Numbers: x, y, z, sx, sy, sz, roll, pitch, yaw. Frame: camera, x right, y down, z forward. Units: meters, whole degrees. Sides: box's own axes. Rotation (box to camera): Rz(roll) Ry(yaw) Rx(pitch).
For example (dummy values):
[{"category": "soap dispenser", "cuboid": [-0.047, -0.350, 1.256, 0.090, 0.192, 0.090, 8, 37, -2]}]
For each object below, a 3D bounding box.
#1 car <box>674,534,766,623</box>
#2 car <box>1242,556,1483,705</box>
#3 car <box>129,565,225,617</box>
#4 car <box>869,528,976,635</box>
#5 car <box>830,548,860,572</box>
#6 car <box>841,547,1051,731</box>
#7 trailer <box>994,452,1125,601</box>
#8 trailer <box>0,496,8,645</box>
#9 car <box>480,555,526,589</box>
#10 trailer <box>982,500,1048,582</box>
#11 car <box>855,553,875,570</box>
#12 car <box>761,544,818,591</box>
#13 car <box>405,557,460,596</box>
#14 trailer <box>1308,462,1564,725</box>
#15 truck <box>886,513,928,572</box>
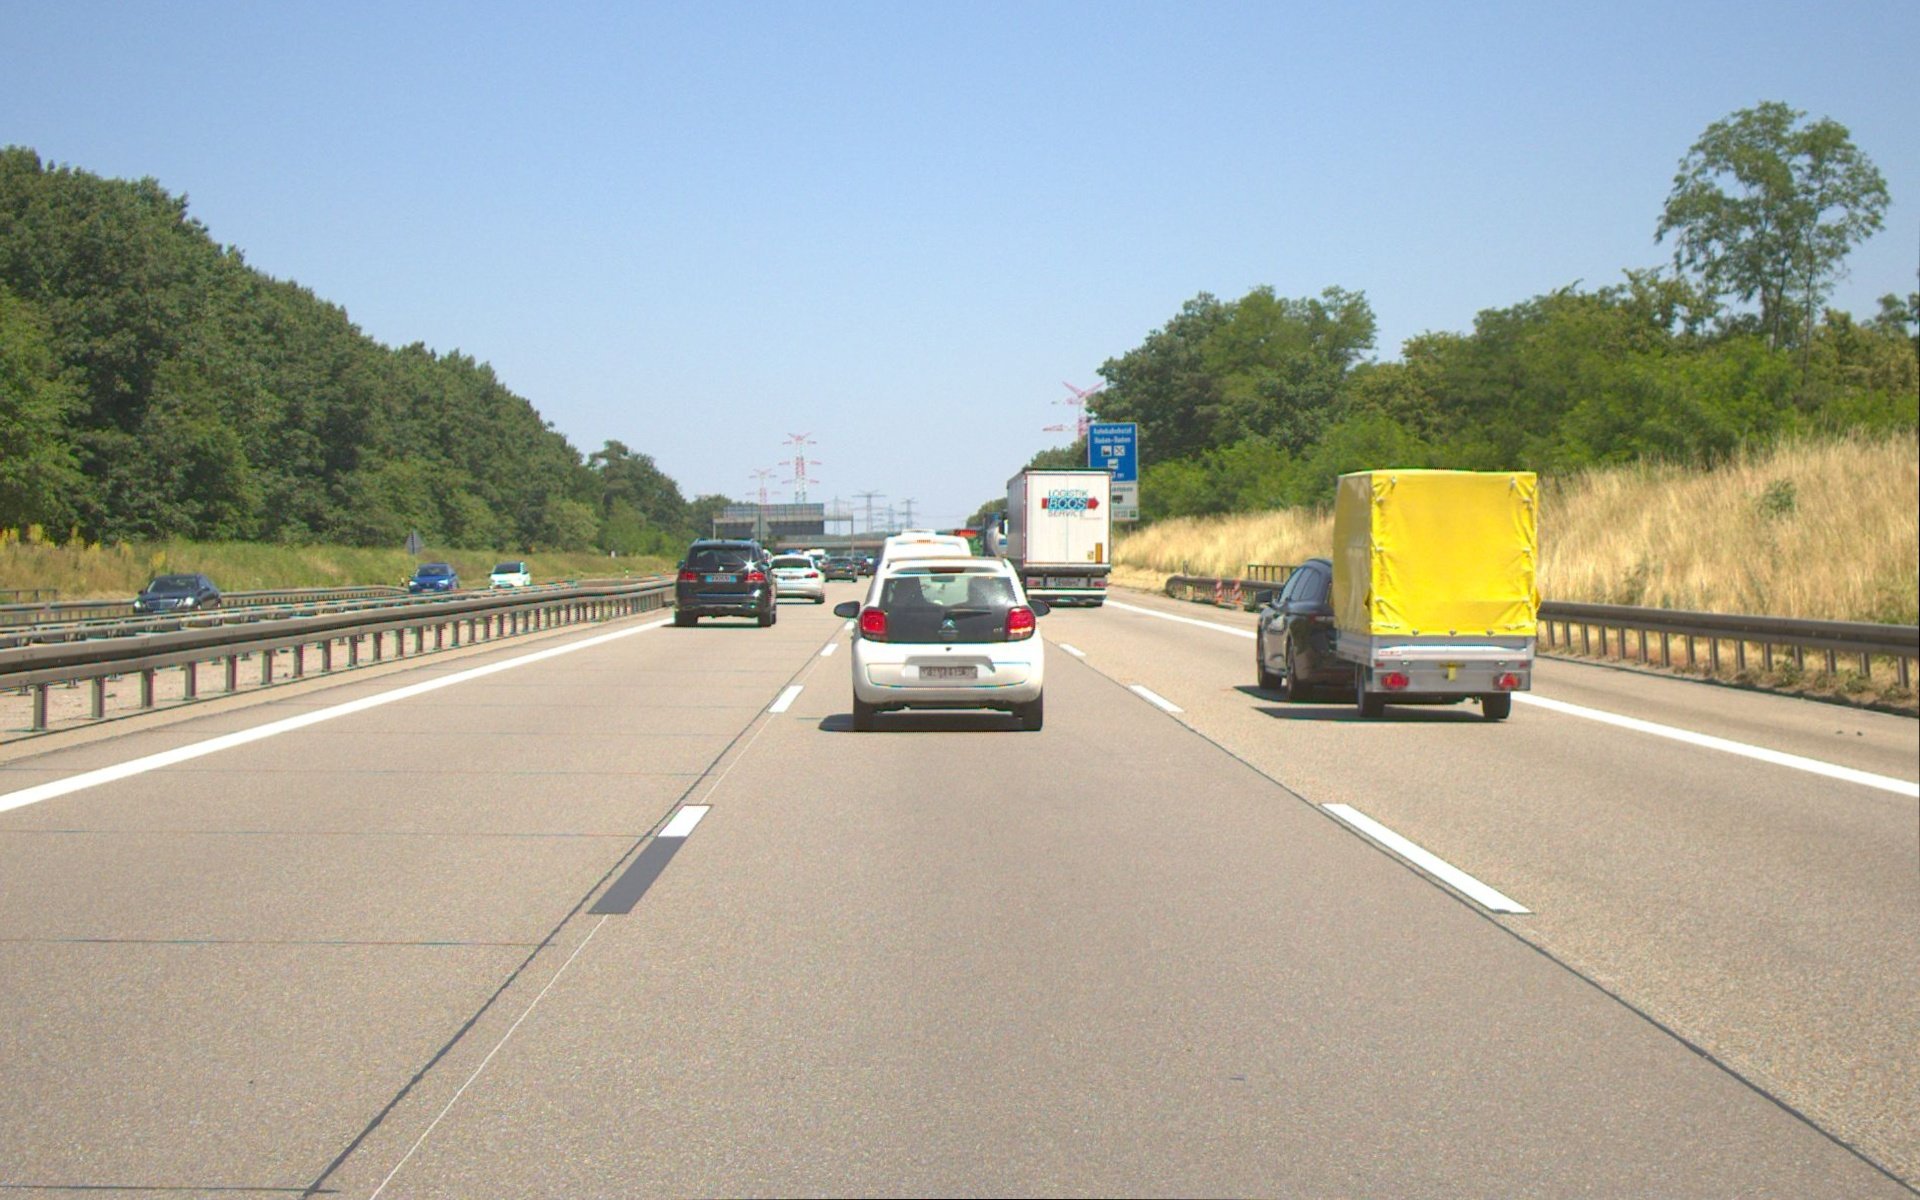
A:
[{"category": "car", "cuboid": [-4.842, -0.446, 69.699, 1.626, 1.749, 3.805, 0, 1, -1]}, {"category": "car", "cuboid": [4.169, 0.269, 36.298, 1.821, 1.451, 4.789, 1, 1, -2]}, {"category": "car", "cuboid": [-22.694, -0.287, 99.837, 1.675, 1.361, 4.890, -3, 1, -1]}, {"category": "car", "cuboid": [-0.690, -0.335, 61.086, 1.814, 1.821, 5.111, 0, 1, -1]}, {"category": "car", "cuboid": [-6.369, -2.218, 191.191, 1.607, 1.296, 3.674, 0, 1, -1]}, {"category": "car", "cuboid": [-0.142, 0.290, 30.144, 1.708, 1.490, 4.024, 0, 1, -1]}, {"category": "trailer", "cuboid": [2.927, -2.171, 105.531, 3.285, 4.205, 13.566, 1, 0, -1]}, {"category": "trailer", "cuboid": [-17.456, -1.091, 51.476, 2.464, 4.059, 14.280, -3, 1, -1]}, {"category": "car", "cuboid": [-23.796, -1.479, 179.015, 1.702, 1.655, 5.117, -3, 1, -1]}, {"category": "trailer", "cuboid": [2.616, -2.822, 167.159, 2.682, 3.824, 12.011, 1, 0, -1]}, {"category": "car", "cuboid": [-6.629, -2.708, 240.032, 1.405, 1.128, 3.358, 0, 1, -1]}, {"category": "car", "cuboid": [-5.149, -1.003, 104.439, 1.669, 1.396, 3.713, -1, 1, -2]}, {"category": "car", "cuboid": [-23.074, -1.042, 150.534, 1.702, 1.540, 4.535, -3, 1, -1]}, {"category": "trailer", "cuboid": [4.357, -0.078, 31.981, 1.703, 2.282, 3.840, 1, 1, -2]}, {"category": "truck", "cuboid": [-2.689, -2.882, 173.999, 2.060, 2.904, 7.004, 0, 0, -1]}]
